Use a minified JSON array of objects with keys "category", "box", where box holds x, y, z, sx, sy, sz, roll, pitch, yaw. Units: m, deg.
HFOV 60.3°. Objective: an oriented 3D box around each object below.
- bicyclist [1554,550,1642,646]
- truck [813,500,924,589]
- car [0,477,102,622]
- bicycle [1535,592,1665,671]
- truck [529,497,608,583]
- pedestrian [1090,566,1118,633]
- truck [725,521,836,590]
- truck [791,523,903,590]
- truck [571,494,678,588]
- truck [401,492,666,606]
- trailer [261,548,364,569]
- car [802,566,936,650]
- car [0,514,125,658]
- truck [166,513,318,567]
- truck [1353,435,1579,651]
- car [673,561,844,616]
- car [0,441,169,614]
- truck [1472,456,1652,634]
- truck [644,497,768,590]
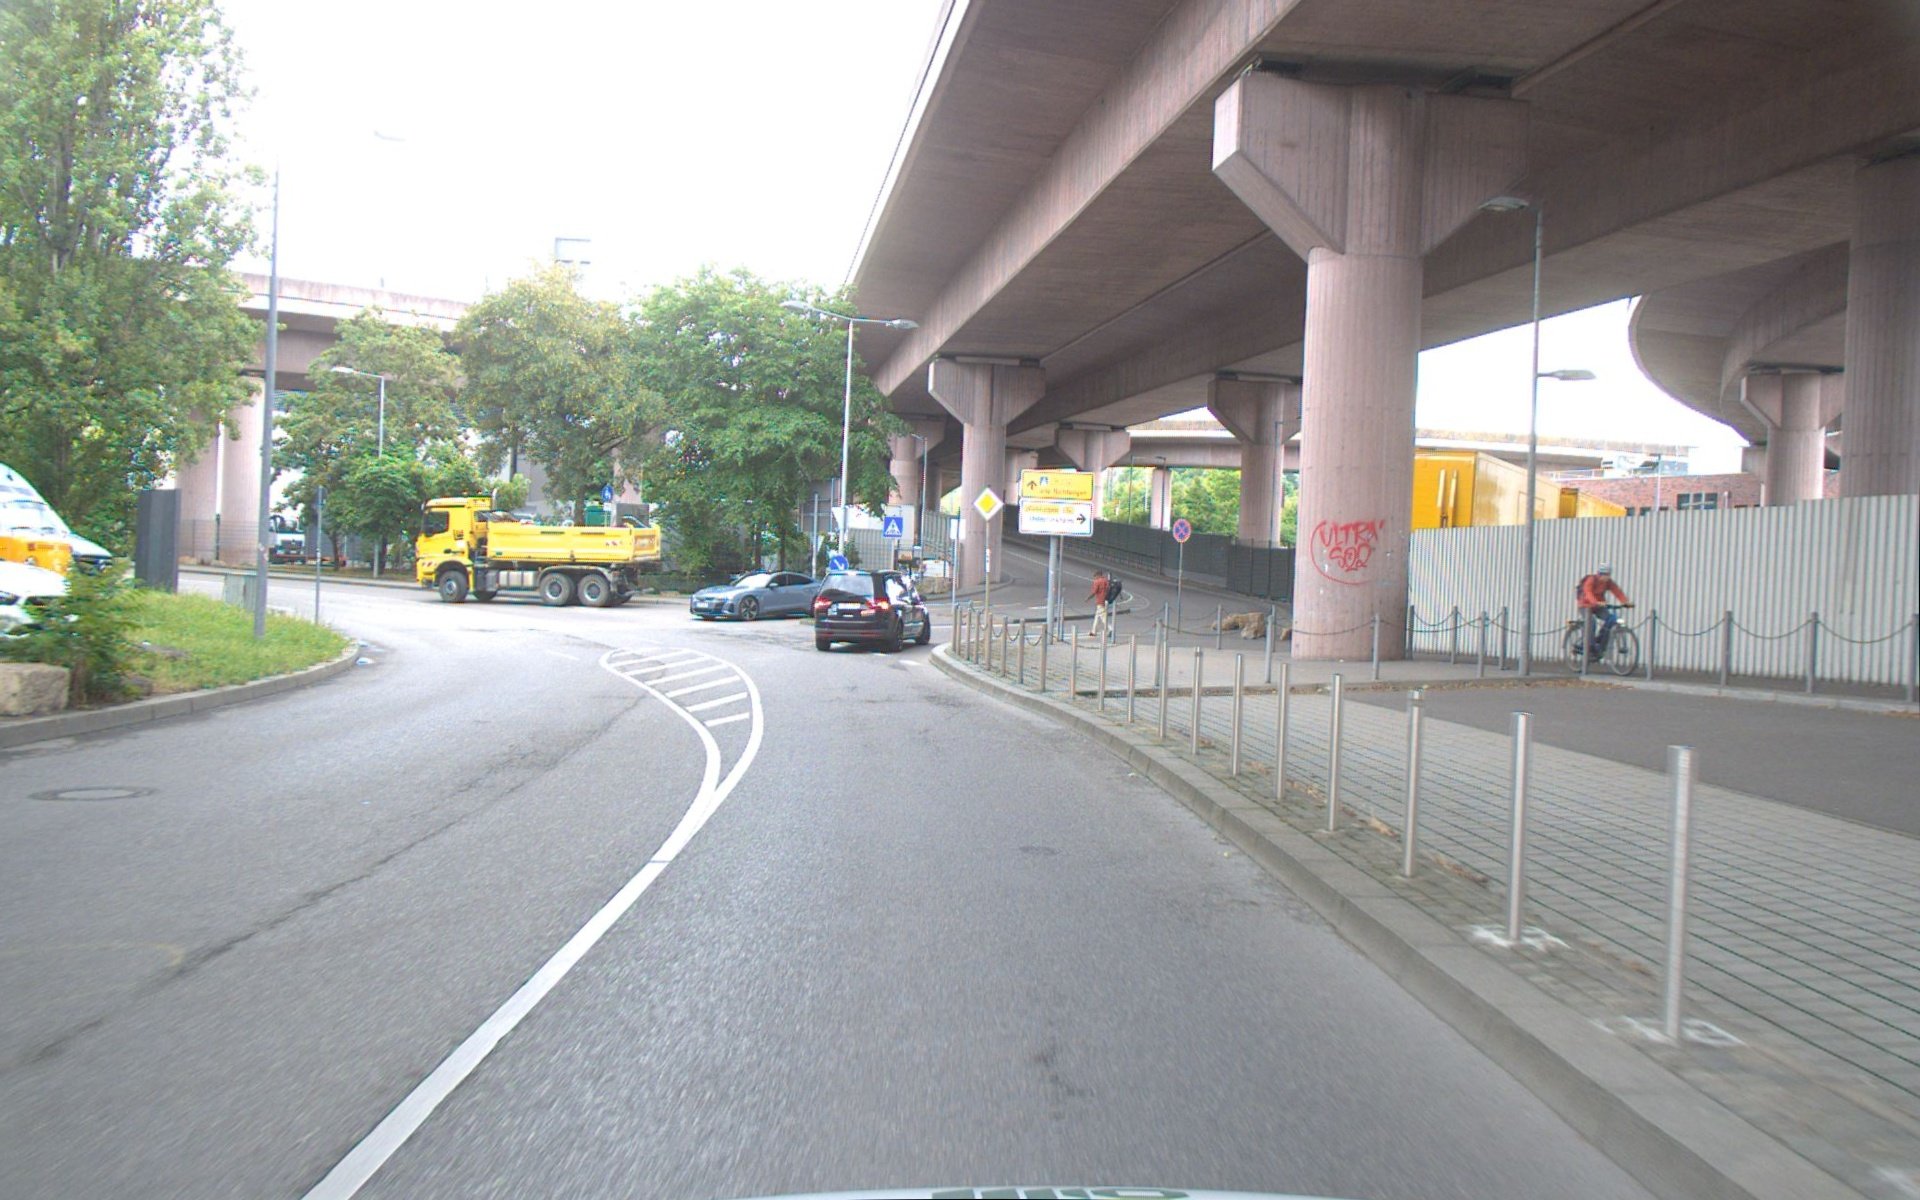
[{"category":"bicyclist","box":[9.728,-0.034,25.232,0.782,1.430,1.063,0,1,-14]},{"category":"truck","box":[-4.867,-2.969,86.351,3.026,4.373,7.989,0,3,-24]},{"category":"car","box":[-16.084,-0.878,25.665,4.463,2.147,1.851,3,1,0]},{"category":"bicycle","box":[9.729,0.455,25.229,0.788,1.116,2.124,0,1,-13]},{"category":"truck","box":[-23.282,-3.616,98.057,3.161,4.862,7.991,0,3,-24]},{"category":"pedestrian","box":[3.711,-0.014,42.699,0.528,1.705,0.555,0,2,-20]},{"category":"truck","box":[-8.449,-2.122,77.290,2.883,2.948,6.497,0,3,-29]},{"category":"truck","box":[-5.491,-2.118,79.097,2.883,2.948,6.497,0,3,-29]},{"category":"truck","box":[-15.305,-2.677,75.047,3.029,4.032,6.864,1,2,-27]},{"category":"truck","box":[-14.170,-1.769,55.293,8.043,3.540,2.940,1,4,8]},{"category":"trailer","box":[-31.625,-2.026,80.665,6.183,0.756,2.143,4,5,42]},{"category":"car","box":[-1.925,0.126,36.519,1.951,1.708,4.565,1,1,10]},{"category":"car","box":[-12.976,-0.323,20.400,4.289,1.633,1.956,4,1,4]},{"category":"truck","box":[-37.359,-3.116,86.055,7.055,2.596,2.727,2,1,15]},{"category":"truck","box":[13.300,-1.341,42.855,3.083,5.003,8.690,2,1,34]},{"category":"car","box":[-5.914,-0.340,48.957,2.133,1.528,4.906,2,1,40]},{"category":"car","box":[-17.244,-1.337,28.377,6.055,2.772,2.366,3,1,-5]},{"category":"truck","box":[18.682,-1.562,50.931,3.083,4.988,8.690,2,1,34]},{"category":"truck","box":[-11.679,-2.647,75.373,3.032,3.934,7.974,0,3,-29]}]
